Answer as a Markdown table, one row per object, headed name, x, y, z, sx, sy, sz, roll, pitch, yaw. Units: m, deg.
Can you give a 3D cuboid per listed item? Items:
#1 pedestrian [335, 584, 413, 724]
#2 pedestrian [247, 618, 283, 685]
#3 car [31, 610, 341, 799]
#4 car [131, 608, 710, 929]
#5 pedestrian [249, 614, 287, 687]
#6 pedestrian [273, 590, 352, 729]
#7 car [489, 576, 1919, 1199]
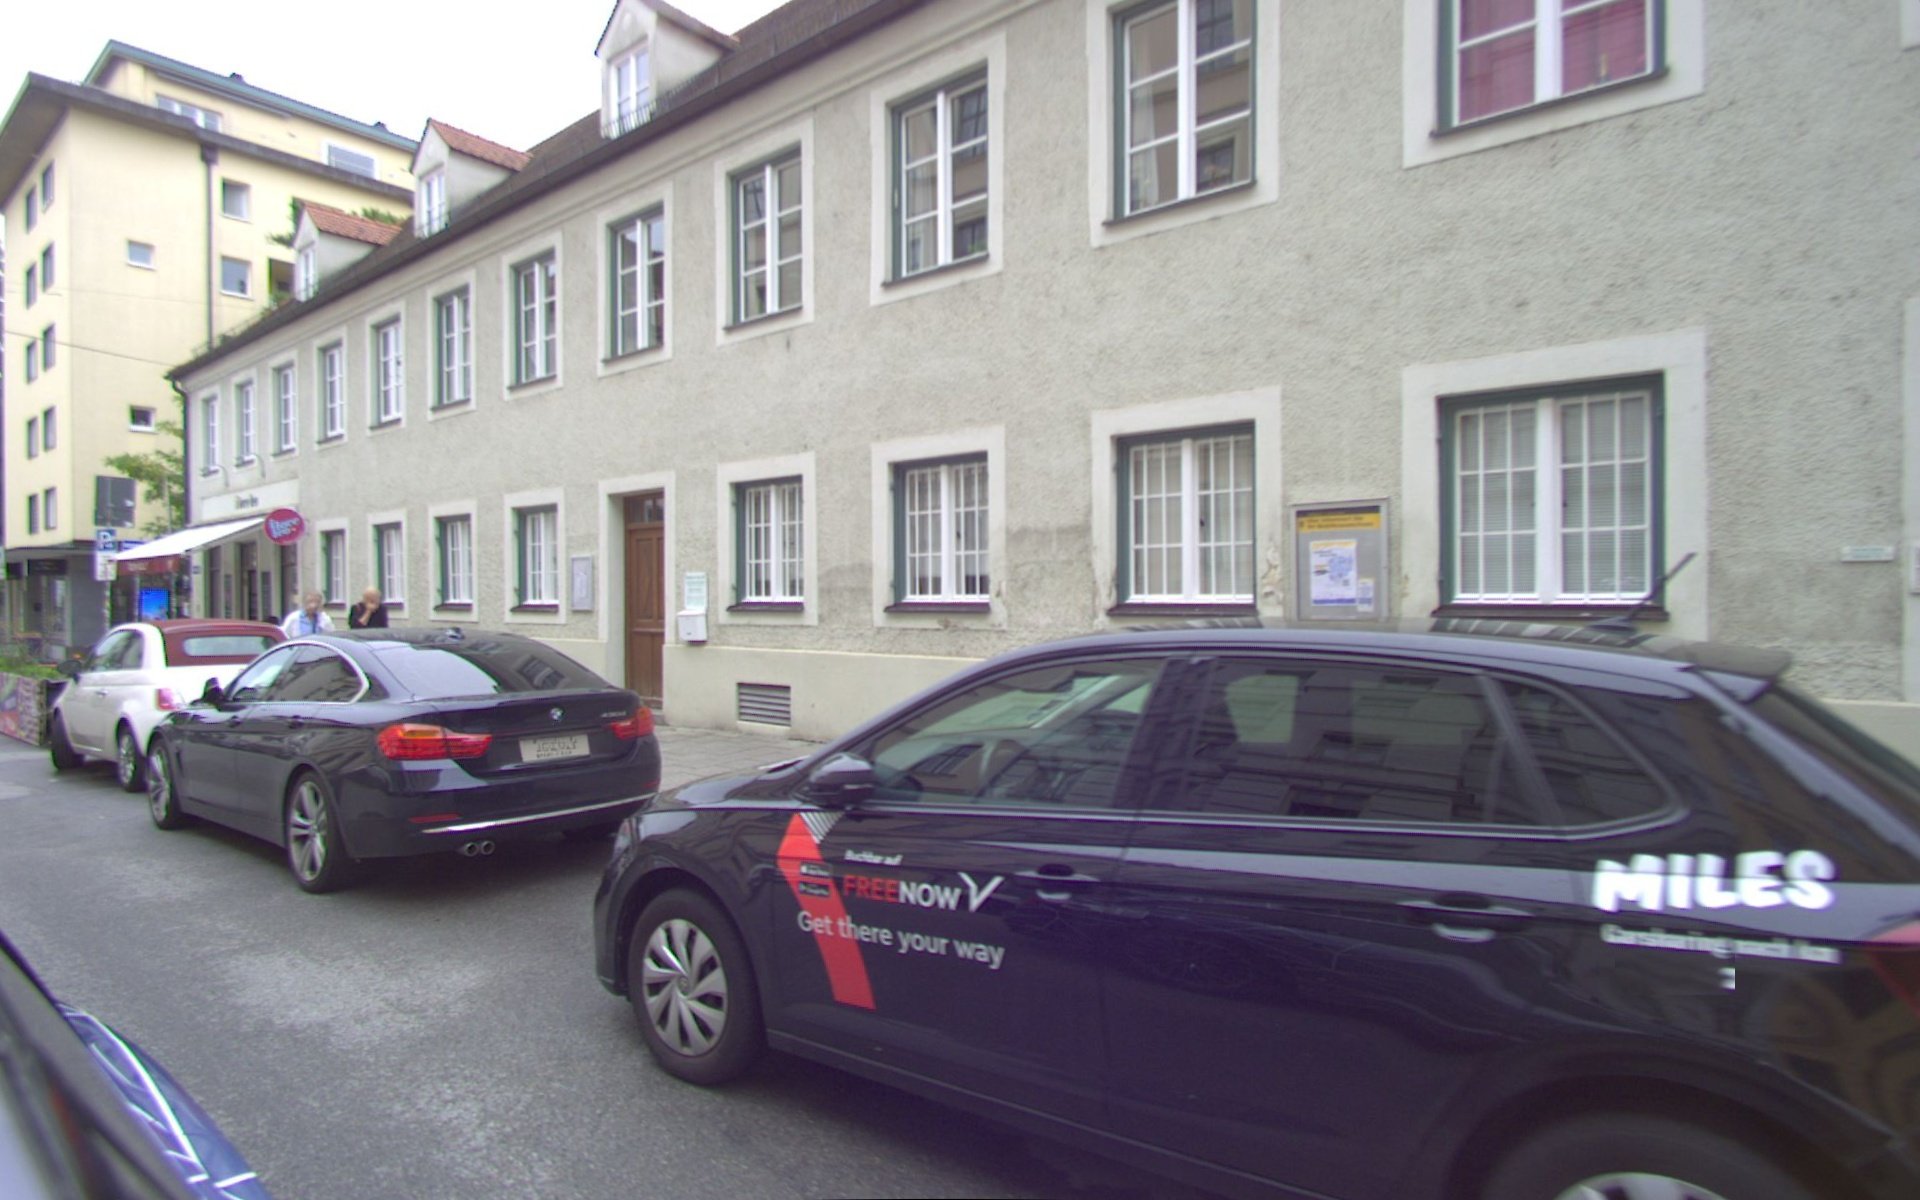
| name | x | y | z | sx | sy | sz | roll | pitch | yaw |
| --- | --- | --- | --- | --- | --- | --- | --- | --- | --- |
| pedestrian | -7.463 | 0.669 | 12.889 | 0.805 | 1.711 | 0.575 | -1 | -1 | 36 |
| pedestrian | -13.053 | 0.963 | 18.996 | 0.501 | 1.222 | 0.596 | -2 | -1 | -36 |
| car | -7.734 | 0.902 | 10.033 | 3.417 | 1.526 | 1.555 | -1 | 0 | 37 |
| car | -3.730 | 0.806 | 6.661 | 4.264 | 1.412 | 1.839 | -1 | 0 | 39 |
| pedestrian | -12.598 | 0.908 | 18.426 | 0.515 | 1.276 | 0.548 | -2 | -1 | -36 |
| pedestrian | -7.817 | 0.697 | 12.215 | 0.661 | 1.610 | 0.607 | -1 | -1 | 36 |
| car | 0.584 | 0.689 | 3.116 | 4.260 | 1.412 | 1.841 | -1 | 0 | 36 |
